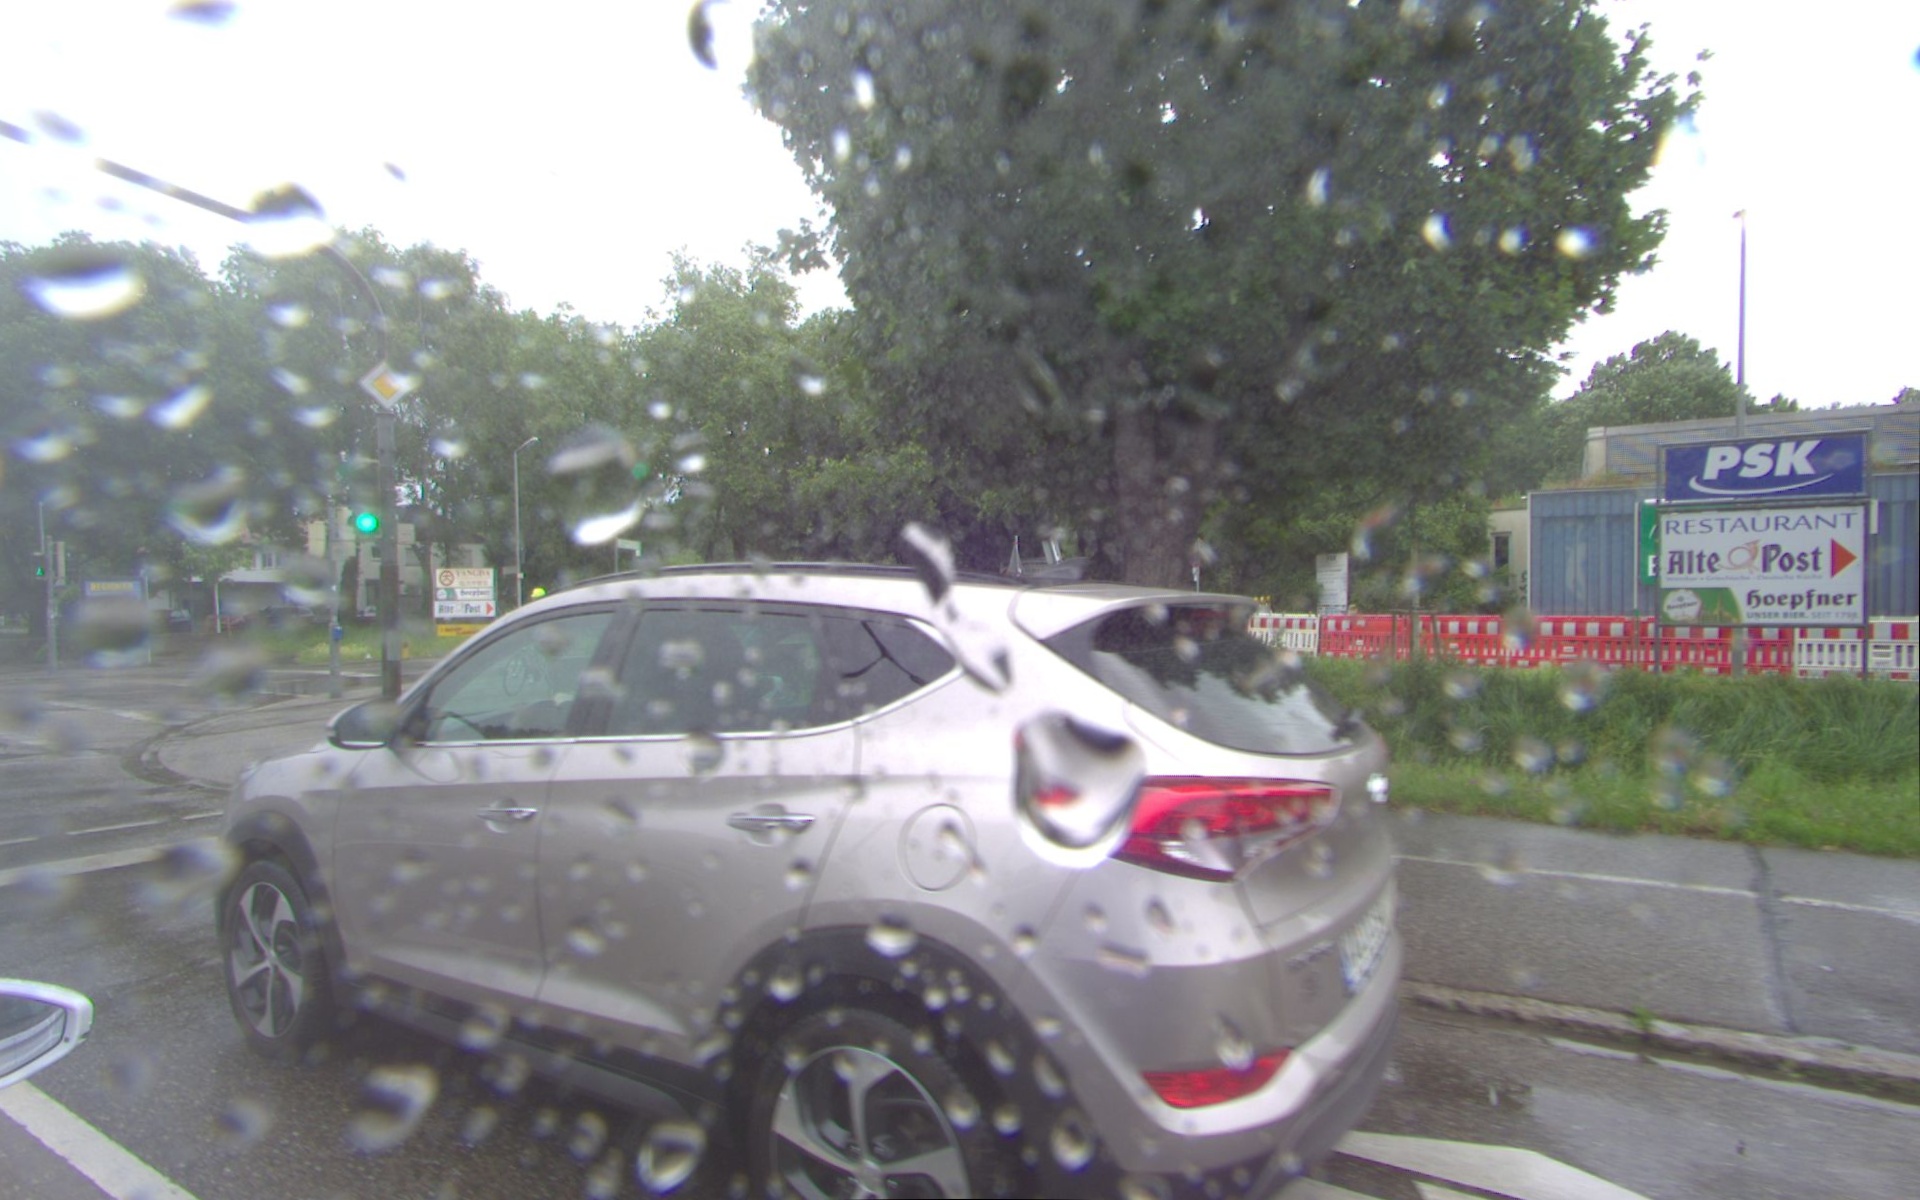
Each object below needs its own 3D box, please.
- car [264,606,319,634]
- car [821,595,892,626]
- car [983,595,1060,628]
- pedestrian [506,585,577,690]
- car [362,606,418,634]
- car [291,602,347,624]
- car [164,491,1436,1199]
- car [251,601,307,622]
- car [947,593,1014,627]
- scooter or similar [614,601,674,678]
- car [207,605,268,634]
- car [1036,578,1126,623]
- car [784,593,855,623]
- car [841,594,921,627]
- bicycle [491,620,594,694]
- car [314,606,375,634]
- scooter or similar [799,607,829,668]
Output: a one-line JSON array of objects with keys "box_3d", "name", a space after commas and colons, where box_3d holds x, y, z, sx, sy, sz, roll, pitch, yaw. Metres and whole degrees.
[{"box_3d": [-36.702, 1.111, 55.050, 1.641, 1.467, 3.744, 0, -2, -19], "name": "car"}, {"box_3d": [-5.669, 0.627, 55.405, 1.894, 1.603, 4.590, -1, -2, 23], "name": "car"}, {"box_3d": [3.033, 0.609, 48.775, 1.900, 1.508, 4.172, -1, -2, 34], "name": "car"}, {"box_3d": [-7.038, 0.624, 16.867, 0.774, 1.702, 0.668, -2, 4, 10], "name": "pedestrian"}, {"box_3d": [-31.782, 1.138, 55.947, 1.573, 1.467, 3.751, 0, -2, -11], "name": "car"}, {"box_3d": [-43.404, 0.875, 67.789, 3.940, 1.403, 1.582, -1, -2, 29], "name": "car"}, {"box_3d": [-0.761, 0.720, 3.446, 4.136, 1.631, 1.881, -1, -2, 33], "name": "car"}, {"box_3d": [-44.572, 0.754, 65.510, 3.645, 1.333, 1.571, -1, -1, 29], "name": "car"}, {"box_3d": [1.063, 0.559, 50.537, 1.697, 1.617, 3.649, -1, -2, 34], "name": "car"}, {"box_3d": [-5.289, 0.652, 16.801, 0.317, 1.246, 0.954, 0, 1, 36], "name": "scooter or similar"}, {"box_3d": [-38.895, 1.077, 53.971, 1.641, 1.467, 3.744, 0, -2, -19], "name": "car"}, {"box_3d": [5.784, 0.075, 47.632, 4.145, 1.990, 1.912, 1, -2, -37], "name": "car"}, {"box_3d": [-7.930, 0.503, 56.866, 1.894, 1.603, 4.590, -1, -2, 23], "name": "car"}, {"box_3d": [-4.135, 0.595, 53.148, 1.898, 1.651, 4.579, -1, -2, 31], "name": "car"}, {"box_3d": [-7.020, 0.940, 16.919, 0.774, 1.053, 1.662, -2, 3, 10], "name": "bicycle"}, {"box_3d": [-33.965, 1.121, 55.378, 1.638, 1.467, 3.751, 0, -2, -11], "name": "car"}, {"box_3d": [-2.891, 0.733, 19.878, 0.553, 1.192, 0.284, 0, 1, 39], "name": "scooter or similar"}]
